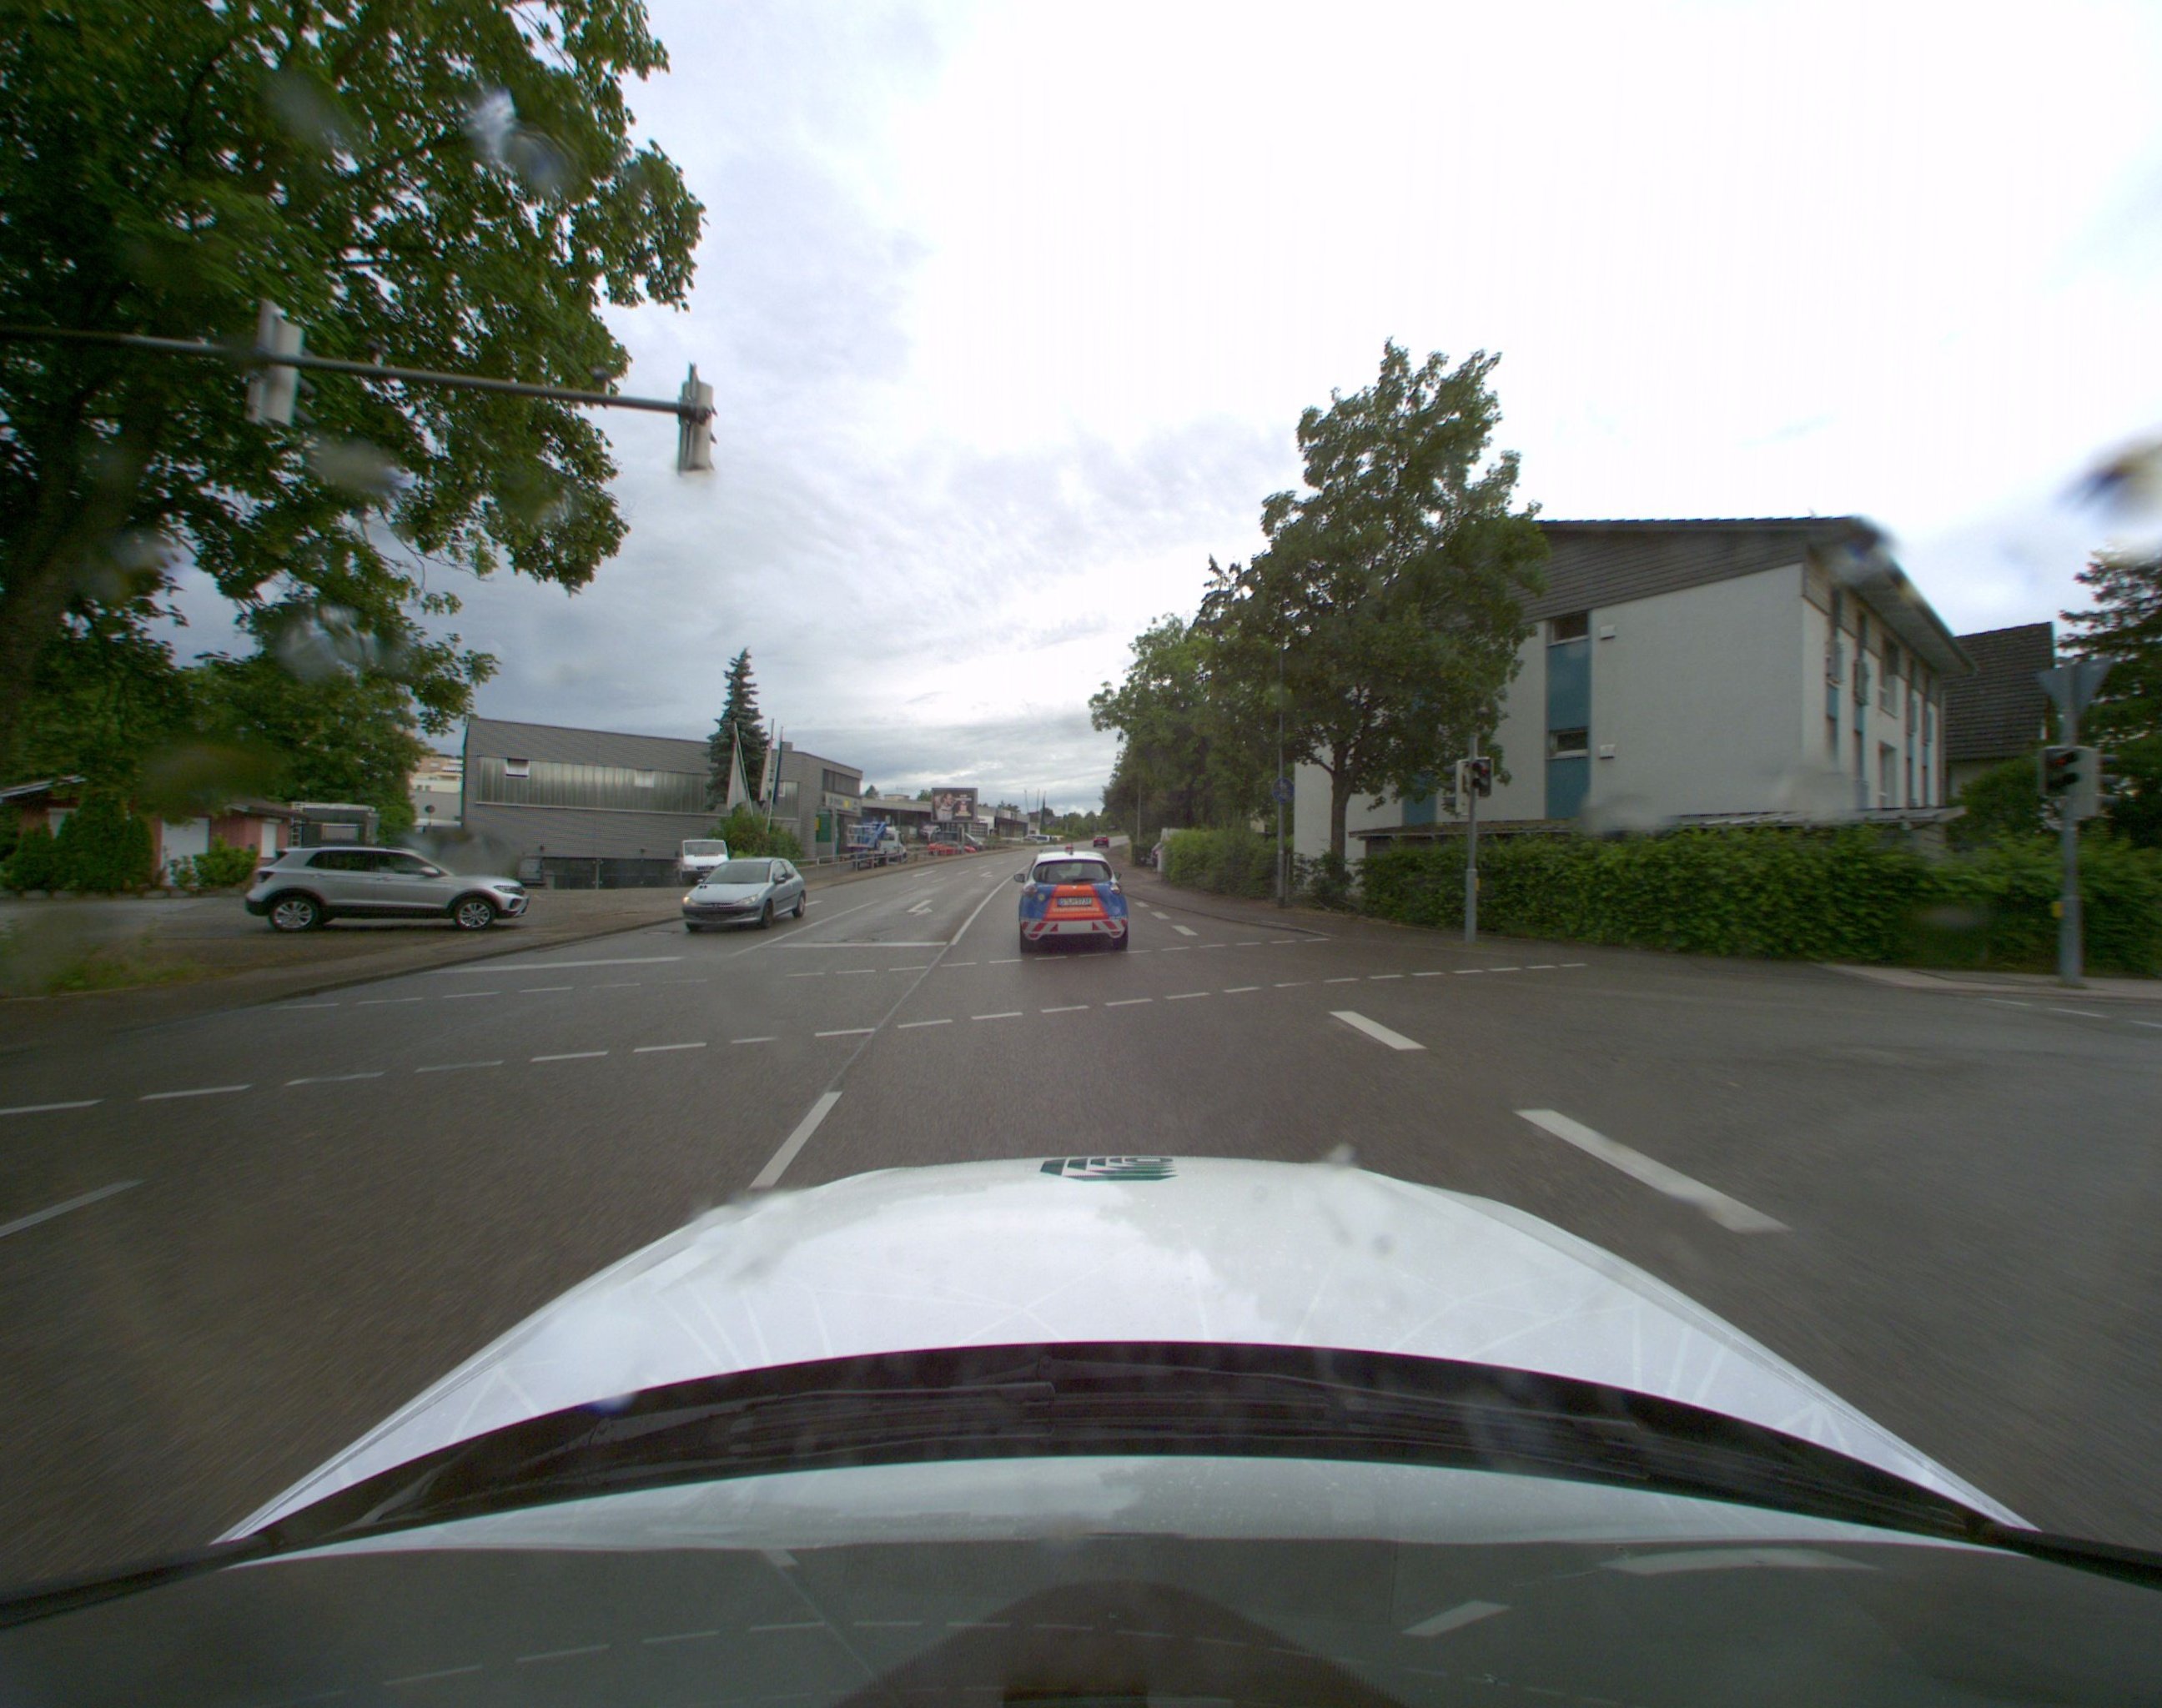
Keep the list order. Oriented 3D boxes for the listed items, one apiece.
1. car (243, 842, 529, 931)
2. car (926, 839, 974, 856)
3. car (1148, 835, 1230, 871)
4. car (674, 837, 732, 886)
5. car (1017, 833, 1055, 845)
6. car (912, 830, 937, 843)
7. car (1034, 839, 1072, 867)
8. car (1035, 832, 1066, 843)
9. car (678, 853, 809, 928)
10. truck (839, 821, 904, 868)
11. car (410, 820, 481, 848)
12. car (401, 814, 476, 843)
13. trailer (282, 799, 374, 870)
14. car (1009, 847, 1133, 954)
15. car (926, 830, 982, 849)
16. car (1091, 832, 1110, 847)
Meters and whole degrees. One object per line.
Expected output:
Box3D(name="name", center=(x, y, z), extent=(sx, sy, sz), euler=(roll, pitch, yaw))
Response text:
Box3D(name="car", center=(-13.296, 0.657, 15.963), extent=(4.015, 1.522, 1.741), euler=(4, -1, -34))
Box3D(name="car", center=(-11.422, -0.551, 71.029), extent=(3.987, 1.376, 1.808), euler=(1, 0, -11))
Box3D(name="car", center=(5.422, -0.068, 41.192), extent=(3.970, 1.723, 2.002), euler=(0, 1, 3))
Box3D(name="car", center=(-16.542, 0.269, 35.548), extent=(2.005, 1.994, 3.963), euler=(0, 1, -29))
Box3D(name="car", center=(-6.104, -2.021, 110.700), extent=(4.783, 1.623, 1.798), euler=(1, 0, -28))
Box3D(name="car", center=(-19.104, -2.117, 99.765), extent=(1.581, 1.515, 4.013), euler=(1, 0, 11))
Box3D(name="car", center=(-1.640, -0.114, 48.524), extent=(1.986, 1.574, 4.002), euler=(0, 1, 2))
Box3D(name="car", center=(-4.904, -2.595, 130.761), extent=(4.783, 1.623, 1.798), euler=(1, 0, -28))
Box3D(name="car", center=(-7.229, 0.715, 17.806), extent=(1.584, 1.404, 3.701), euler=(0, 1, -5))
Box3D(name="truck", center=(-12.070, -0.590, 47.268), extent=(1.985, 2.538, 5.565), euler=(1, 1, 4))
Box3D(name="car", center=(-56.286, -1.746, 72.212), extent=(4.676, 2.305, 2.218), euler=(1, 0, -32))
Box3D(name="car", center=(-54.065, -2.107, 68.642), extent=(4.676, 2.305, 2.028), euler=(1, 0, -32))
Box3D(name="trailer", center=(-31.612, -0.775, 34.360), extent=(2.632, 2.763, 4.968), euler=(1, 0, -41))
Box3D(name="car", center=(-0.322, 0.705, 14.109), extent=(1.744, 1.581, 3.990), euler=(0, -1, -7))
Box3D(name="car", center=(-11.503, -1.296, 74.091), extent=(4.743, 1.623, 1.813), euler=(1, 0, -2))
Box3D(name="car", center=(2.381, -1.737, 99.177), extent=(1.984, 1.684, 4.006), euler=(0, 0, 5))
